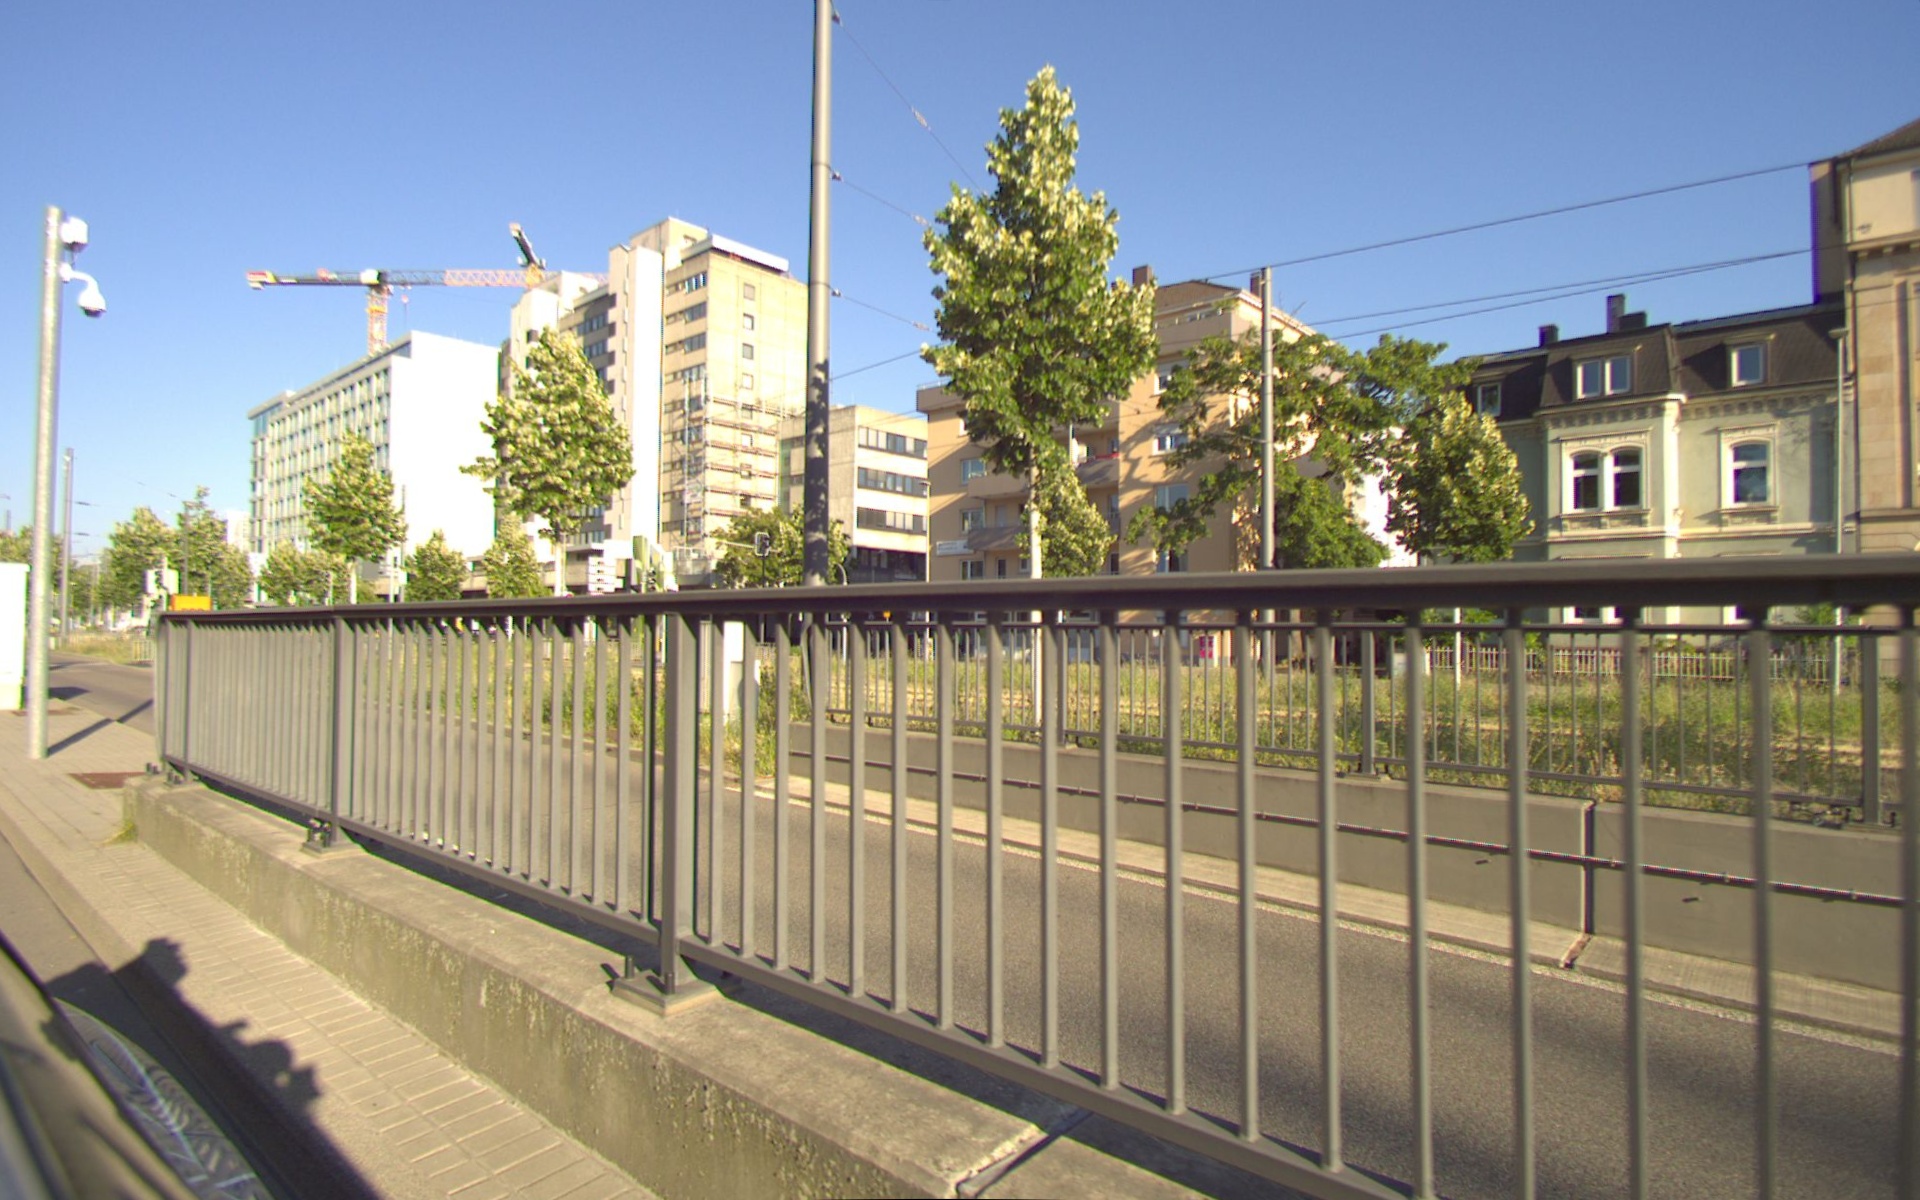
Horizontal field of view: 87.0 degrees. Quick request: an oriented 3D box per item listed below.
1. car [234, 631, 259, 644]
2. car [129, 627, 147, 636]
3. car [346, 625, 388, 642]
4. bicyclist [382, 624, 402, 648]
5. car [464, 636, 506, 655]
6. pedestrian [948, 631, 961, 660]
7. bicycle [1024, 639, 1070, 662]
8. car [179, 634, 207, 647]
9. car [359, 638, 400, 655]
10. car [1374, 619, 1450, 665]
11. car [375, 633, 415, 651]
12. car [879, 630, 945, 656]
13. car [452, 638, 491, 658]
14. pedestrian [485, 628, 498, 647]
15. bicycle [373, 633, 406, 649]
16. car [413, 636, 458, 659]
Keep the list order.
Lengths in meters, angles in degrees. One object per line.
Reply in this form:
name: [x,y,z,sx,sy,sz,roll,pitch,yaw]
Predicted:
car: [-85.910,4.523,121.881,3.389,1.477,1.849,-1,0,43]
car: [-145.215,5.570,178.748,4.638,1.600,1.849,-1,0,43]
car: [-56.581,3.188,96.603,1.597,1.455,4.550,-1,0,-3]
bicyclist: [-33.433,2.124,59.615,0.710,1.405,0.732,0,-2,18]
car: [-35.955,3.428,76.681,1.598,1.283,3.467,-1,0,-2]
pedestrian: [-0.274,2.418,53.968,0.520,1.567,0.442,-1,-3,41]
bicycle: [4.495,2.603,52.243,2.585,1.145,0.525,-2,-3,42]
car: [-90.851,4.782,119.826,4.660,1.474,1.757,-1,-2,42]
car: [-53.860,4.306,93.964,1.763,1.455,3.804,-1,0,-3]
car: [21.045,1.947,47.081,2.000,2.062,3.942,-2,-3,44]
car: [-51.513,3.847,92.323,1.598,1.455,3.794,-1,0,-1]
car: [-2.909,2.614,61.908,1.846,1.508,3.945,-1,-3,41]
car: [-39.234,3.825,81.353,1.598,1.413,3.467,-1,0,-2]
pedestrian: [-42.196,3.375,91.119,0.882,1.652,0.766,-1,-3,41]
bicycle: [-33.752,2.429,59.862,2.015,0.898,0.503,0,-2,19]
car: [-44.145,3.960,85.245,1.599,1.703,4.195,-1,0,1]
